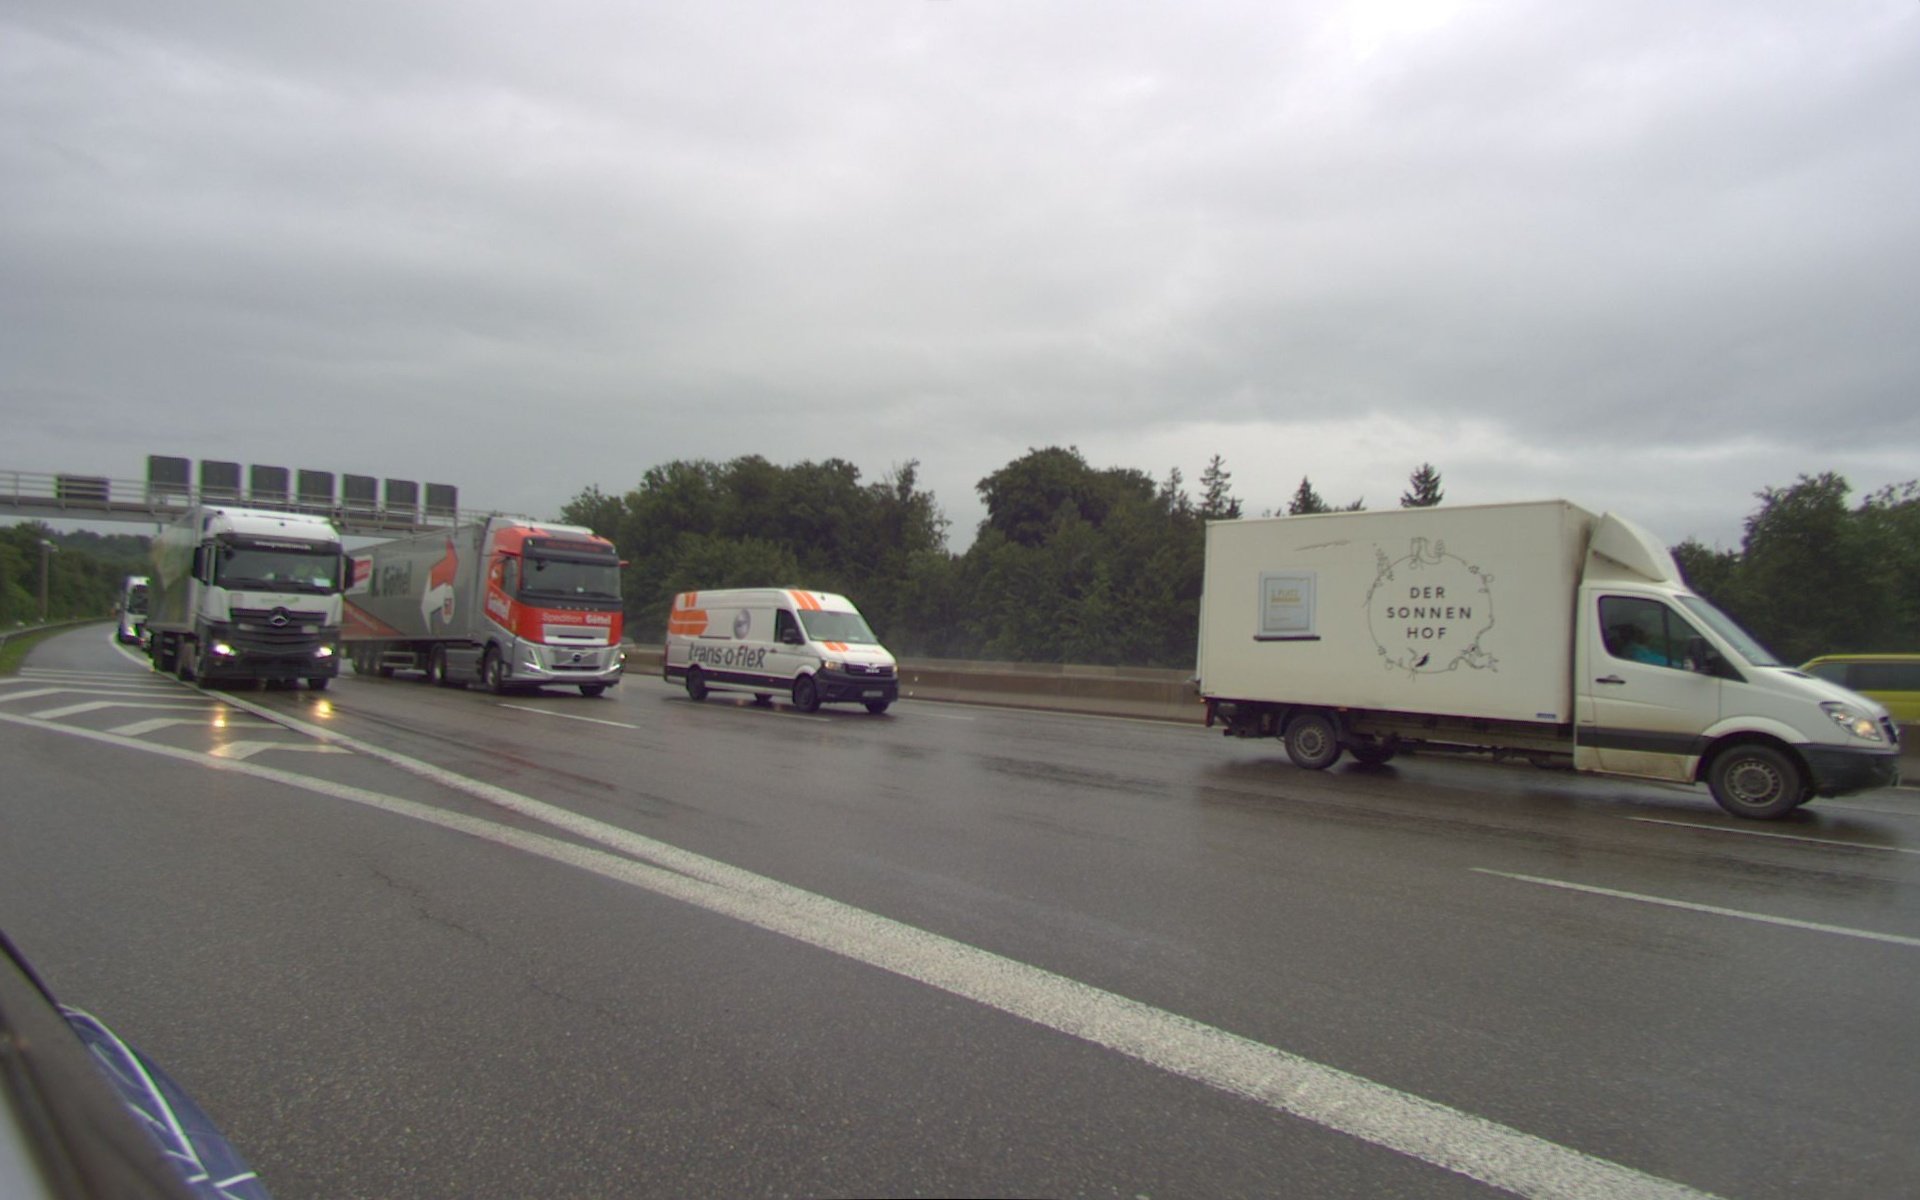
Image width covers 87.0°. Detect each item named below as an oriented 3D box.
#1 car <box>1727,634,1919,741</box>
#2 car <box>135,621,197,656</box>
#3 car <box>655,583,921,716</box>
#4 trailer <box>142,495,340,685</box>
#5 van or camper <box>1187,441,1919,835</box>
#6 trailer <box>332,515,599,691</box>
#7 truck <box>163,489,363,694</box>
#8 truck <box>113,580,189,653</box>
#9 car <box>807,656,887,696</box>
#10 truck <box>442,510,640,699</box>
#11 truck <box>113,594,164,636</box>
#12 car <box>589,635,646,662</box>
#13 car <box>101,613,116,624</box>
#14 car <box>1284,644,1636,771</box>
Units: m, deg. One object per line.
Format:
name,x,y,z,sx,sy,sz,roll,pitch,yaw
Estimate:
car,18.862,1.739,20.752,1.970,2.029,4.742,2,-2,-43
car,-37.604,1.821,47.895,1.904,1.534,4.767,4,-3,-42
car,-4.075,1.036,22.502,2.122,2.507,7.373,4,-3,-42
trailer,-20.669,-0.106,28.520,2.883,4.237,13.653,4,-3,-42
van or camper,6.390,0.406,11.667,2.549,3.228,7.137,4,-3,-43
trailer,-14.318,0.229,28.234,2.596,3.893,13.688,4,-4,-43
truck,-16.511,-0.078,23.765,2.883,4.130,6.727,4,-3,-42
truck,-50.354,0.846,62.812,3.305,4.101,12.593,0,1,-40
car,-5.738,3.787,51.066,1.969,1.829,4.109,2,-2,-42
truck,-9.714,0.190,23.316,2.596,3.893,4.593,4,-4,-43
truck,-81.417,1.368,100.251,3.485,3.876,9.448,-1,1,-42
car,-22.518,3.173,66.454,1.969,1.708,4.271,4,-4,-41
car,-144.903,3.125,172.184,1.791,1.770,4.693,3,-3,-41
car,7.240,1.475,15.035,1.596,1.534,4.419,4,-3,-42
